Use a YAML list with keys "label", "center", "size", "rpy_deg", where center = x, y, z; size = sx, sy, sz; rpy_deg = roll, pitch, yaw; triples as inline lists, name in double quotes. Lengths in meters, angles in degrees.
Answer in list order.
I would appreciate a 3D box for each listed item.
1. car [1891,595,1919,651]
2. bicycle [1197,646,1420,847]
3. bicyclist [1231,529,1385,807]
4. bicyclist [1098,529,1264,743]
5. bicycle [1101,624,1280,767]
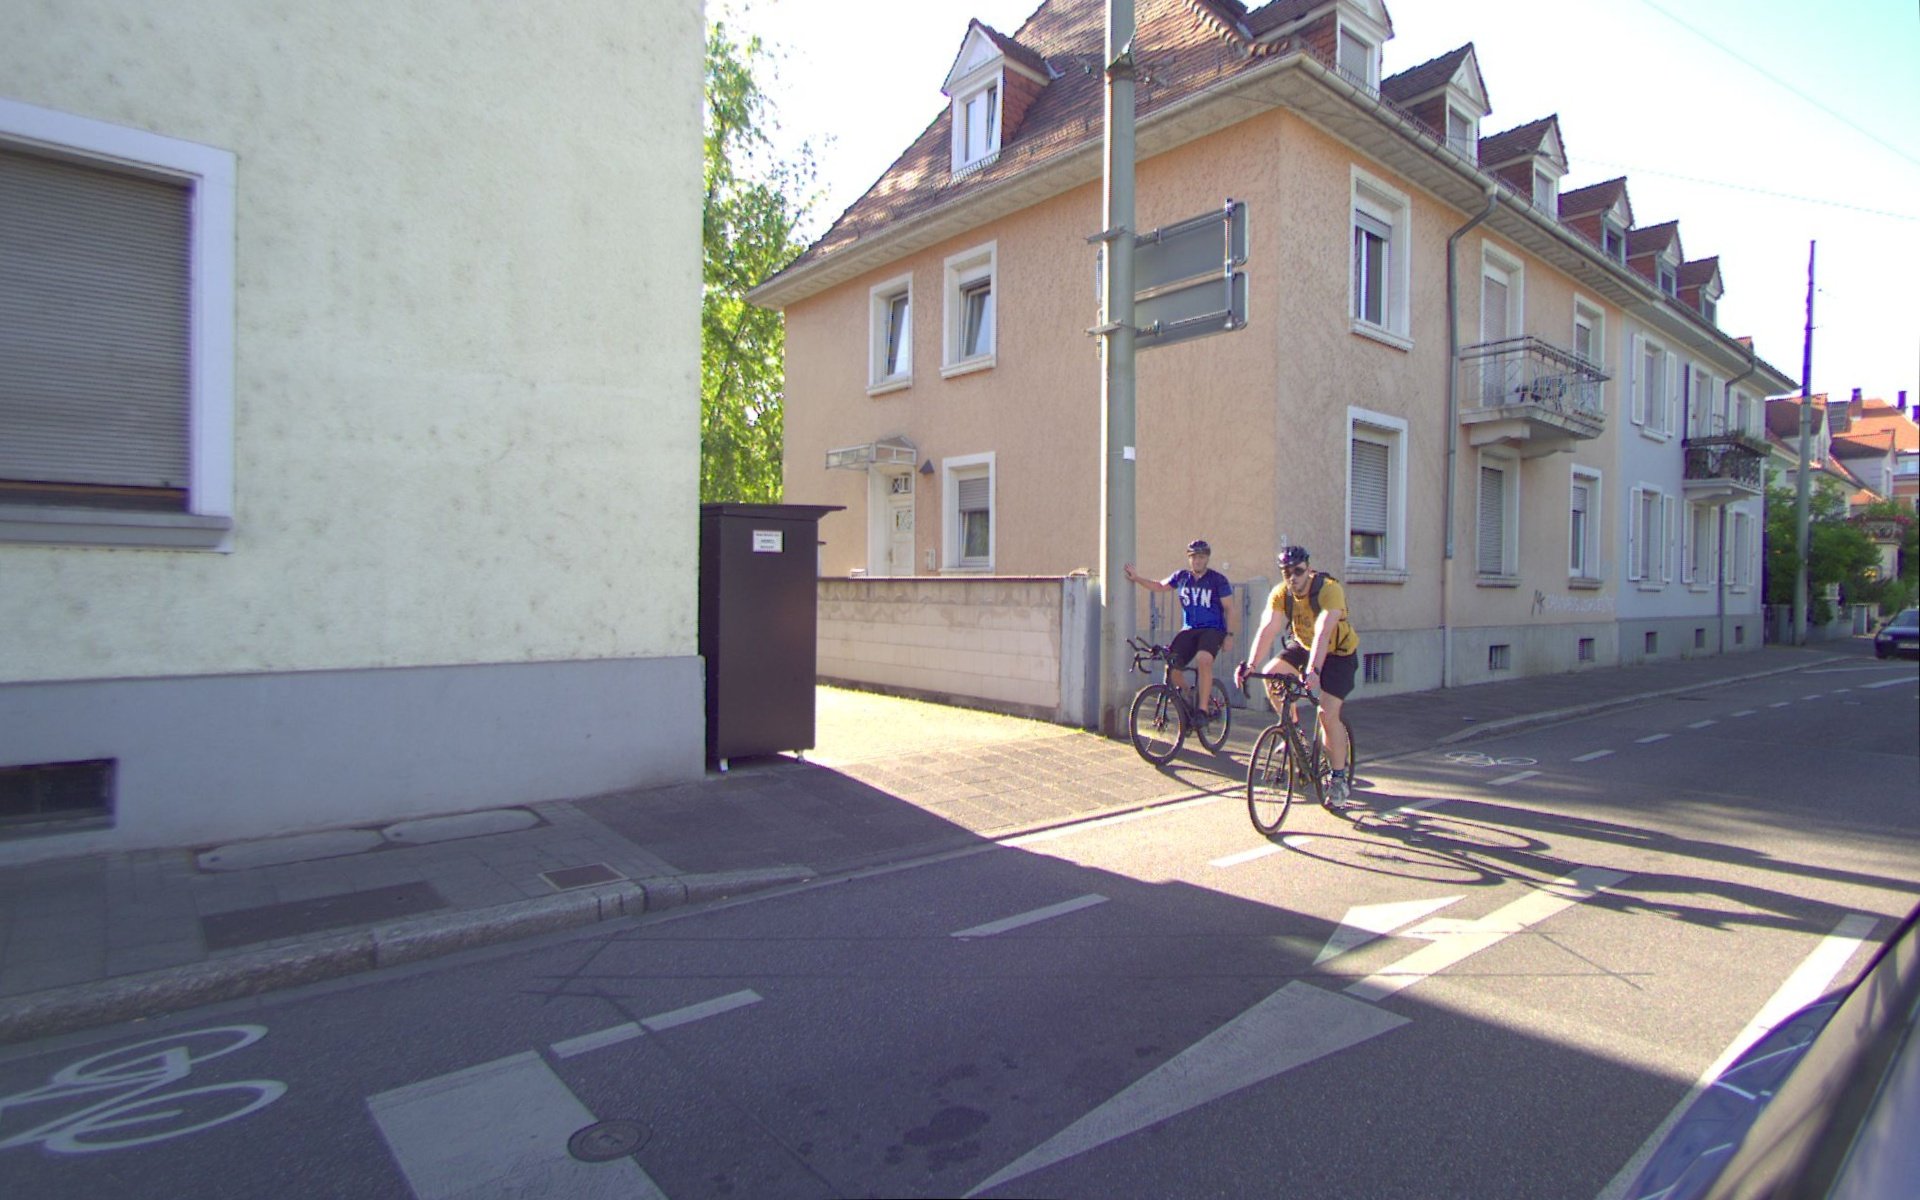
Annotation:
- label: "car"
  center: [26.639, 0.614, 27.332]
  size: [3.932, 1.438, 1.845]
  rpy_deg: [0, 1, -42]
- label: "bicycle"
  center: [2.396, 0.907, 6.839]
  size: [1.778, 1.101, 0.611]
  rpy_deg: [0, 1, -41]
- label: "bicyclist"
  center: [2.365, 0.418, 6.859]
  size: [0.939, 1.743, 0.582]
  rpy_deg: [0, 1, -41]
- label: "bicyclist"
  center: [2.001, 0.277, 9.227]
  size: [0.838, 1.758, 1.072]
  rpy_deg: [0, 6, -40]
- label: "bicycle"
  center: [2.070, 0.798, 8.987]
  size: [1.689, 1.064, 0.595]
  rpy_deg: [0, 6, -41]
